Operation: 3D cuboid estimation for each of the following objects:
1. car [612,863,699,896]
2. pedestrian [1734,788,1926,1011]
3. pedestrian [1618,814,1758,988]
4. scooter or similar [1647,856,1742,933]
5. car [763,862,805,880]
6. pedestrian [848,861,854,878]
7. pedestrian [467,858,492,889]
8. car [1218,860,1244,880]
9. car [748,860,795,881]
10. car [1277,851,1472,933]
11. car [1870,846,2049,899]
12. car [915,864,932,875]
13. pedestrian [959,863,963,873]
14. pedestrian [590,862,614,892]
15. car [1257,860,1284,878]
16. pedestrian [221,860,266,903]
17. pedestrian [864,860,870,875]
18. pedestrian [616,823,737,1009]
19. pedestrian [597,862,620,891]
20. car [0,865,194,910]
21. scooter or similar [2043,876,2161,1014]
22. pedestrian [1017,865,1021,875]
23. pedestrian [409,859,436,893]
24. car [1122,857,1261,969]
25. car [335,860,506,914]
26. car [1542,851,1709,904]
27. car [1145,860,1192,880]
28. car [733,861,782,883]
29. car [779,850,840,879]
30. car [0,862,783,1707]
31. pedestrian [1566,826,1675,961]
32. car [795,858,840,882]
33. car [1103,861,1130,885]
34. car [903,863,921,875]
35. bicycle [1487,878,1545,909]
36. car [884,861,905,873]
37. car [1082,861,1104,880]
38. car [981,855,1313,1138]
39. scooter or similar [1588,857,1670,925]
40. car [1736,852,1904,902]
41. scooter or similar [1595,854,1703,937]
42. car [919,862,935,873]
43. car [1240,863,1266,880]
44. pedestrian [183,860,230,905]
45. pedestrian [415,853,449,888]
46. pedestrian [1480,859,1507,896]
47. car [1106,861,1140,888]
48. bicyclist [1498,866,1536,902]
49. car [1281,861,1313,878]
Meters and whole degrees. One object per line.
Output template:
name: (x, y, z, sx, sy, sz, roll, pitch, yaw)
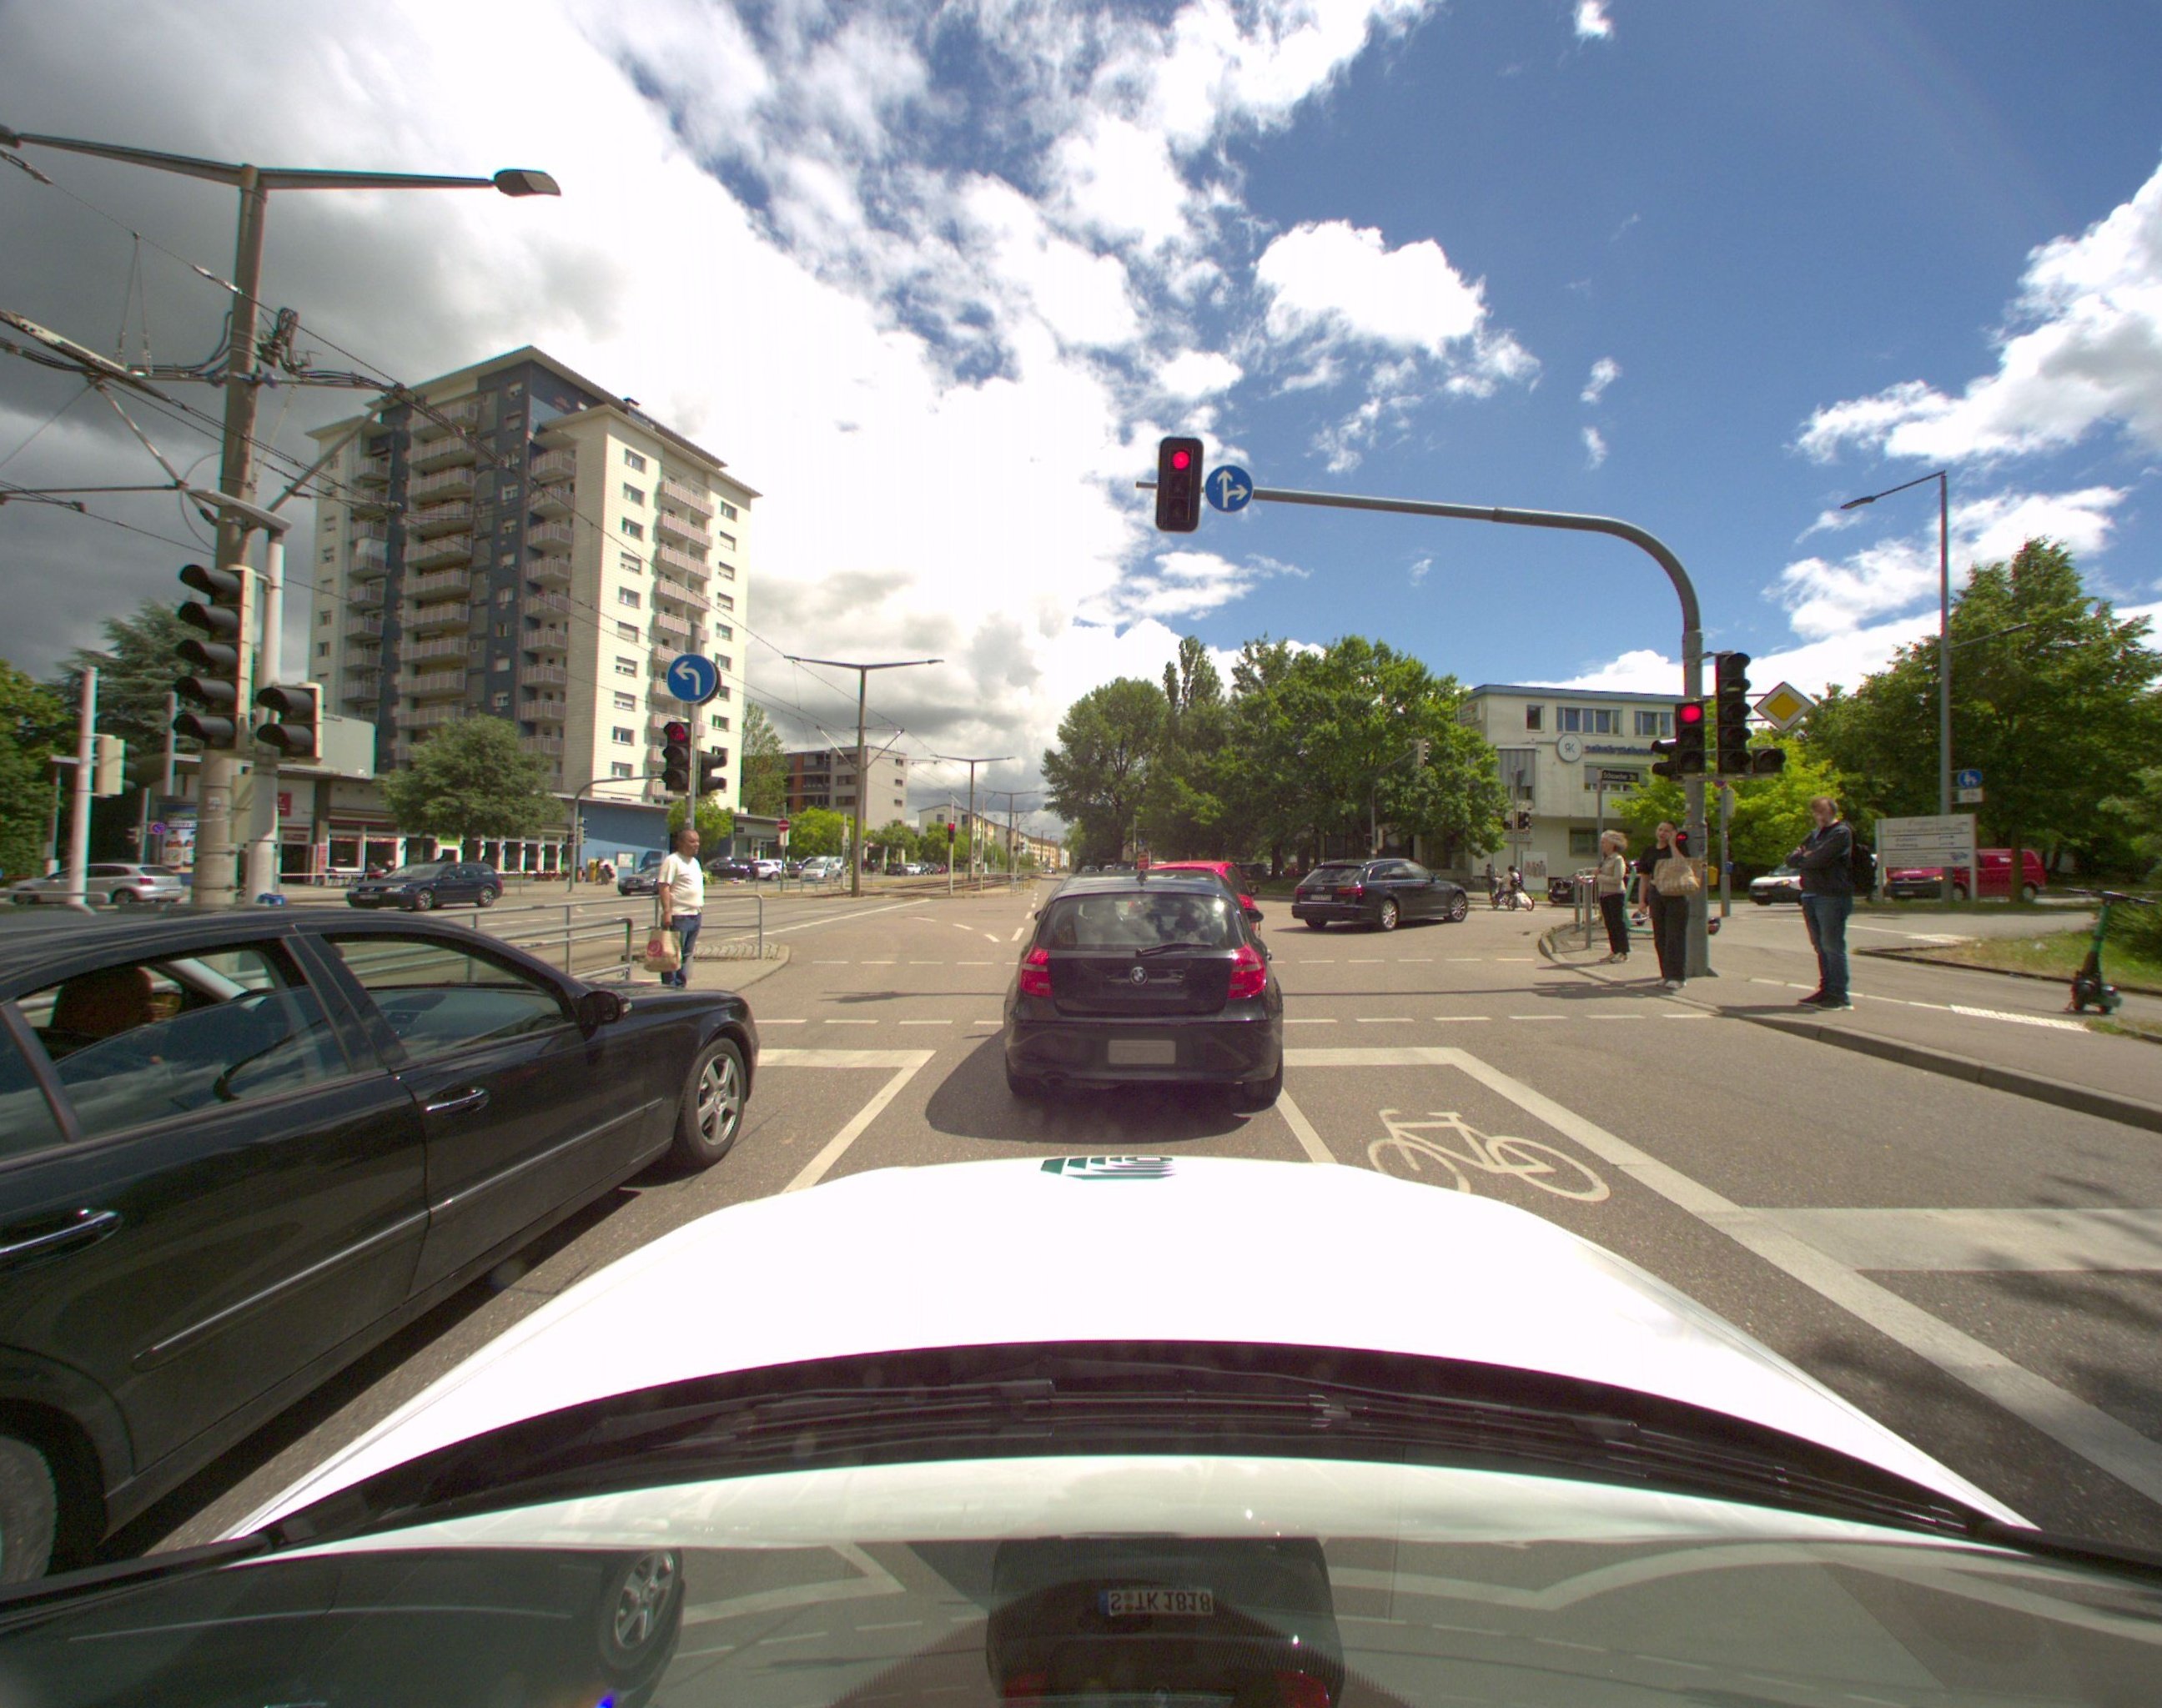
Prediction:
car: (-19.148, 1.127, 36.888, 1.630, 1.399, 4.492, 0, -1, -1)
pedestrian: (6.896, 0.392, 7.555, 0.963, 1.942, 0.896, 0, 0, -3)
pedestrian: (6.543, 0.478, 8.814, 0.933, 1.765, 0.770, -1, 0, -10)
scooter or similar: (10.375, 0.681, 13.787, 1.225, 1.240, 0.555, 2, 0, -7)
car: (-24.658, 1.355, 67.570, 1.800, 1.420, 4.166, 0, 0, -43)
pedestrian: (-23.041, 1.526, 81.557, 0.547, 1.716, 0.667, 0, -1, -8)
pedestrian: (-30.952, 0.992, 41.914, 0.767, 1.615, 0.695, 0, -1, -12)
car: (14.065, 1.499, 76.566, 1.626, 1.811, 4.030, 0, 0, -1)
car: (-24.523, 1.279, 64.460, 4.165, 1.538, 1.973, 0, 0, 45)
car: (6.430, 0.729, 17.605, 4.544, 1.554, 1.976, 0, -1, -40)
car: (31.861, 0.672, 29.602, 4.800, 1.864, 1.995, 0, -2, -8)
car: (-20.958, 1.999, 108.283, 1.758, 1.395, 3.993, 0, 0, -5)
pedestrian: (-20.478, 2.352, 139.007, 0.451, 1.637, 0.480, 0, -1, -1)
pedestrian: (-27.509, 1.317, 46.829, 0.947, 1.659, 1.093, 0, -1, -17)
car: (18.248, 1.430, 78.705, 1.626, 1.595, 3.998, 0, 0, -1)
pedestrian: (-33.033, 1.085, 32.140, 0.957, 1.659, 1.002, -1, -1, 28)
pedestrian: (-24.548, 1.501, 93.459, 0.547, 1.716, 0.404, 0, -1, -8)
pedestrian: (-4.107, 0.604, 8.332, 0.866, 1.808, 0.741, 0, 0, -2)
pedestrian: (-27.807, 1.328, 47.958, 0.947, 1.659, 1.093, 0, -1, -17)
car: (-32.424, 1.081, 26.832, 3.993, 1.398, 1.690, 0, -1, -14)
scooter or similar: (10.633, 0.930, 8.475, 1.247, 1.275, 0.709, 6, -1, -38)
pedestrian: (-10.013, 2.544, 131.339, 0.477, 1.637, 0.454, 0, -1, 1)
pedestrian: (-31.948, 1.052, 39.516, 0.767, 1.615, 0.696, 0, -1, -9)
car: (1.785, 0.776, 12.330, 1.529, 1.441, 3.211, 0, 0, 18)
car: (-19.237, 0.923, 23.995, 1.625, 1.414, 4.250, -1, -1, -2)
car: (18.623, 0.782, 27.965, 4.551, 1.717, 1.996, 0, 0, -5)
car: (8.141, 1.498, 75.687, 4.001, 1.823, 1.766, 0, 0, -21)
car: (-24.322, 1.351, 61.161, 4.165, 1.570, 1.973, 0, 0, 45)
car: (-24.321, 0.911, 72.726, 2.848, 2.478, 6.642, 0, 0, -41)
car: (-2.690, 0.770, 2.498, 1.721, 1.461, 4.546, 0, 0, 2)
pedestrian: (7.036, 0.500, 10.686, 0.945, 1.674, 0.874, -1, -1, 17)
car: (-19.149, 1.154, 59.321, 1.930, 1.693, 3.874, 0, 0, 2)
car: (2.651, 1.440, 61.753, 1.986, 1.684, 4.001, 0, -1, 2)
car: (-21.096, 1.838, 101.702, 1.758, 1.395, 3.993, 0, 0, -5)
bicycle: (12.603, 1.129, 23.665, 0.788, 0.819, 1.809, 0, 0, 2)
car: (-21.548, 1.480, 94.129, 1.758, 1.395, 3.993, 0, 0, -5)
car: (1.196, 1.555, 77.247, 1.986, 1.684, 4.002, 0, 0, 2)
car: (0.414, 0.749, 6.291, 1.746, 1.487, 4.002, 0, 0, 2)
scooter or similar: (9.894, 0.662, 14.701, 1.360, 1.156, 0.540, 1, 0, -23)
car: (26.301, 0.784, 29.050, 4.555, 1.717, 1.995, 0, 0, -8)
scooter or similar: (8.986, 0.648, 12.916, 1.336, 1.277, 0.463, 0, 1, 8)
car: (-21.295, 1.878, 112.861, 1.758, 1.395, 3.993, 0, 0, -5)
car: (16.305, 1.629, 77.334, 1.626, 1.573, 4.030, 0, 0, -1)
pedestrian: (-33.425, 1.079, 31.131, 0.957, 1.659, 1.002, -1, -1, 28)
pedestrian: (-36.299, 0.901, 45.566, 0.861, 1.917, 1.215, 0, 0, 2)
pedestrian: (18.480, 1.043, 36.479, 0.911, 1.643, 0.762, 1, -1, -36)
car: (2.782, 1.348, 54.297, 2.144, 1.684, 4.001, 0, -1, 2)
bicyclist: (12.597, 0.859, 23.549, 0.788, 1.022, 0.636, 0, -1, 1)
car: (20.955, 1.511, 79.025, 1.728, 1.595, 3.992, 0, 0, -5)
